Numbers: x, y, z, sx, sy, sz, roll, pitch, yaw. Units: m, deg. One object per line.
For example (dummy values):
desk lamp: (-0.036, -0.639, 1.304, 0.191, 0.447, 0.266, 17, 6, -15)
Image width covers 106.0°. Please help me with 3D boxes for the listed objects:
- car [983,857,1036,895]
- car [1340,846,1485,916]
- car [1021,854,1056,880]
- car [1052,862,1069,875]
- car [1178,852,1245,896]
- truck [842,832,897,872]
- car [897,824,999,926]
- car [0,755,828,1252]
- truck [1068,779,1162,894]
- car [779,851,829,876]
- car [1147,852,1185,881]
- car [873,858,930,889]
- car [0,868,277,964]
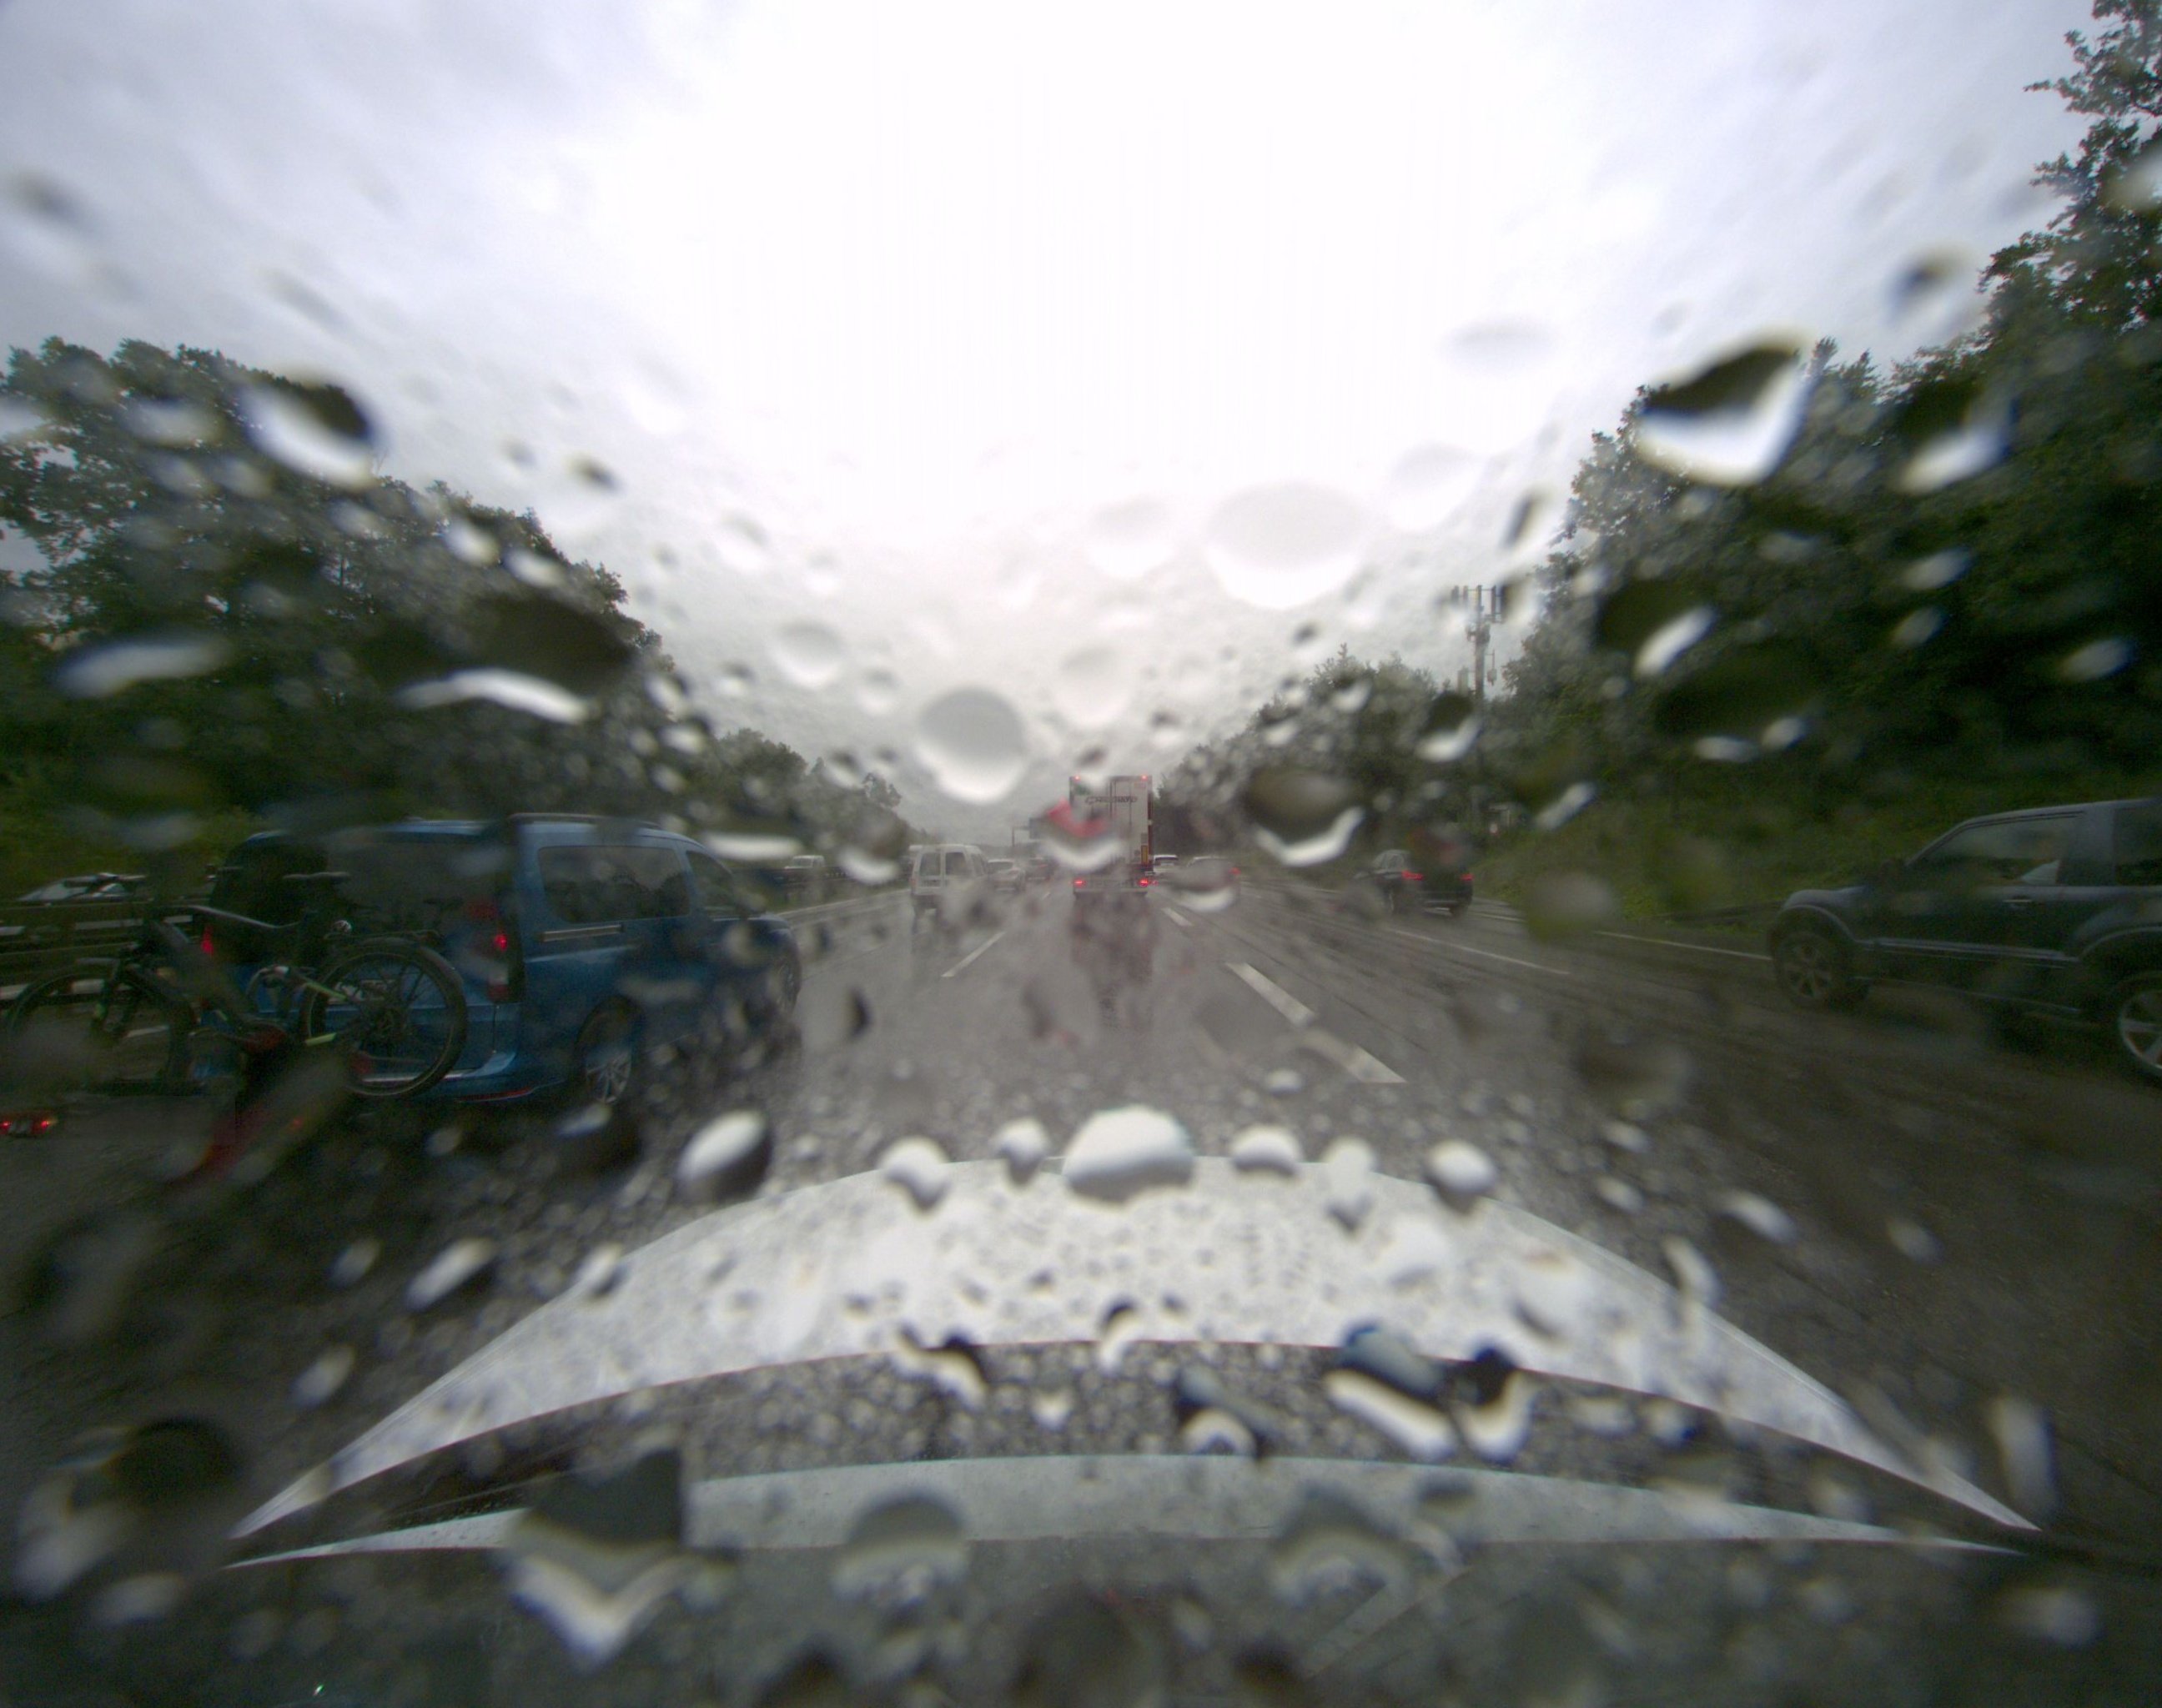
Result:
car: (-3.190, 0.948, 36.890, 1.838, 1.591, 4.074, -1, 0, 2)
car: (8.276, 0.610, 20.857, 1.981, 1.583, 4.771, -1, 0, 3)
car: (-2.773, 0.833, 53.700, 1.838, 1.591, 4.469, -1, 0, 3)
car: (-2.320, 1.652, 91.250, 1.840, 1.330, 4.464, -1, 0, -1)
car: (4.585, 0.655, 29.267, 1.882, 1.425, 4.486, -1, 0, 3)
truck: (-22.095, -0.233, 85.795, 2.693, 3.931, 10.033, -1, 0, 2)
car: (-3.637, 0.528, 23.237, 2.207, 2.573, 5.011, -1, 0, -2)
car: (-3.815, 0.580, 5.691, 2.260, 1.912, 5.020, -1, 0, 3)
truck: (1.218, -0.484, 30.898, 2.862, 3.562, 11.305, -1, -1, 2)
car: (-18.730, 0.605, 55.338, 1.853, 1.596, 4.003, -1, 0, 3)
car: (4.760, 0.662, 45.996, 1.838, 1.522, 4.346, -1, 0, 2)
car: (-9.731, 1.026, 44.527, 2.085, 1.504, 4.751, -2, 0, -1)
car: (-18.754, 1.081, 15.718, 1.830, 1.497, 4.609, -1, 0, 0)
